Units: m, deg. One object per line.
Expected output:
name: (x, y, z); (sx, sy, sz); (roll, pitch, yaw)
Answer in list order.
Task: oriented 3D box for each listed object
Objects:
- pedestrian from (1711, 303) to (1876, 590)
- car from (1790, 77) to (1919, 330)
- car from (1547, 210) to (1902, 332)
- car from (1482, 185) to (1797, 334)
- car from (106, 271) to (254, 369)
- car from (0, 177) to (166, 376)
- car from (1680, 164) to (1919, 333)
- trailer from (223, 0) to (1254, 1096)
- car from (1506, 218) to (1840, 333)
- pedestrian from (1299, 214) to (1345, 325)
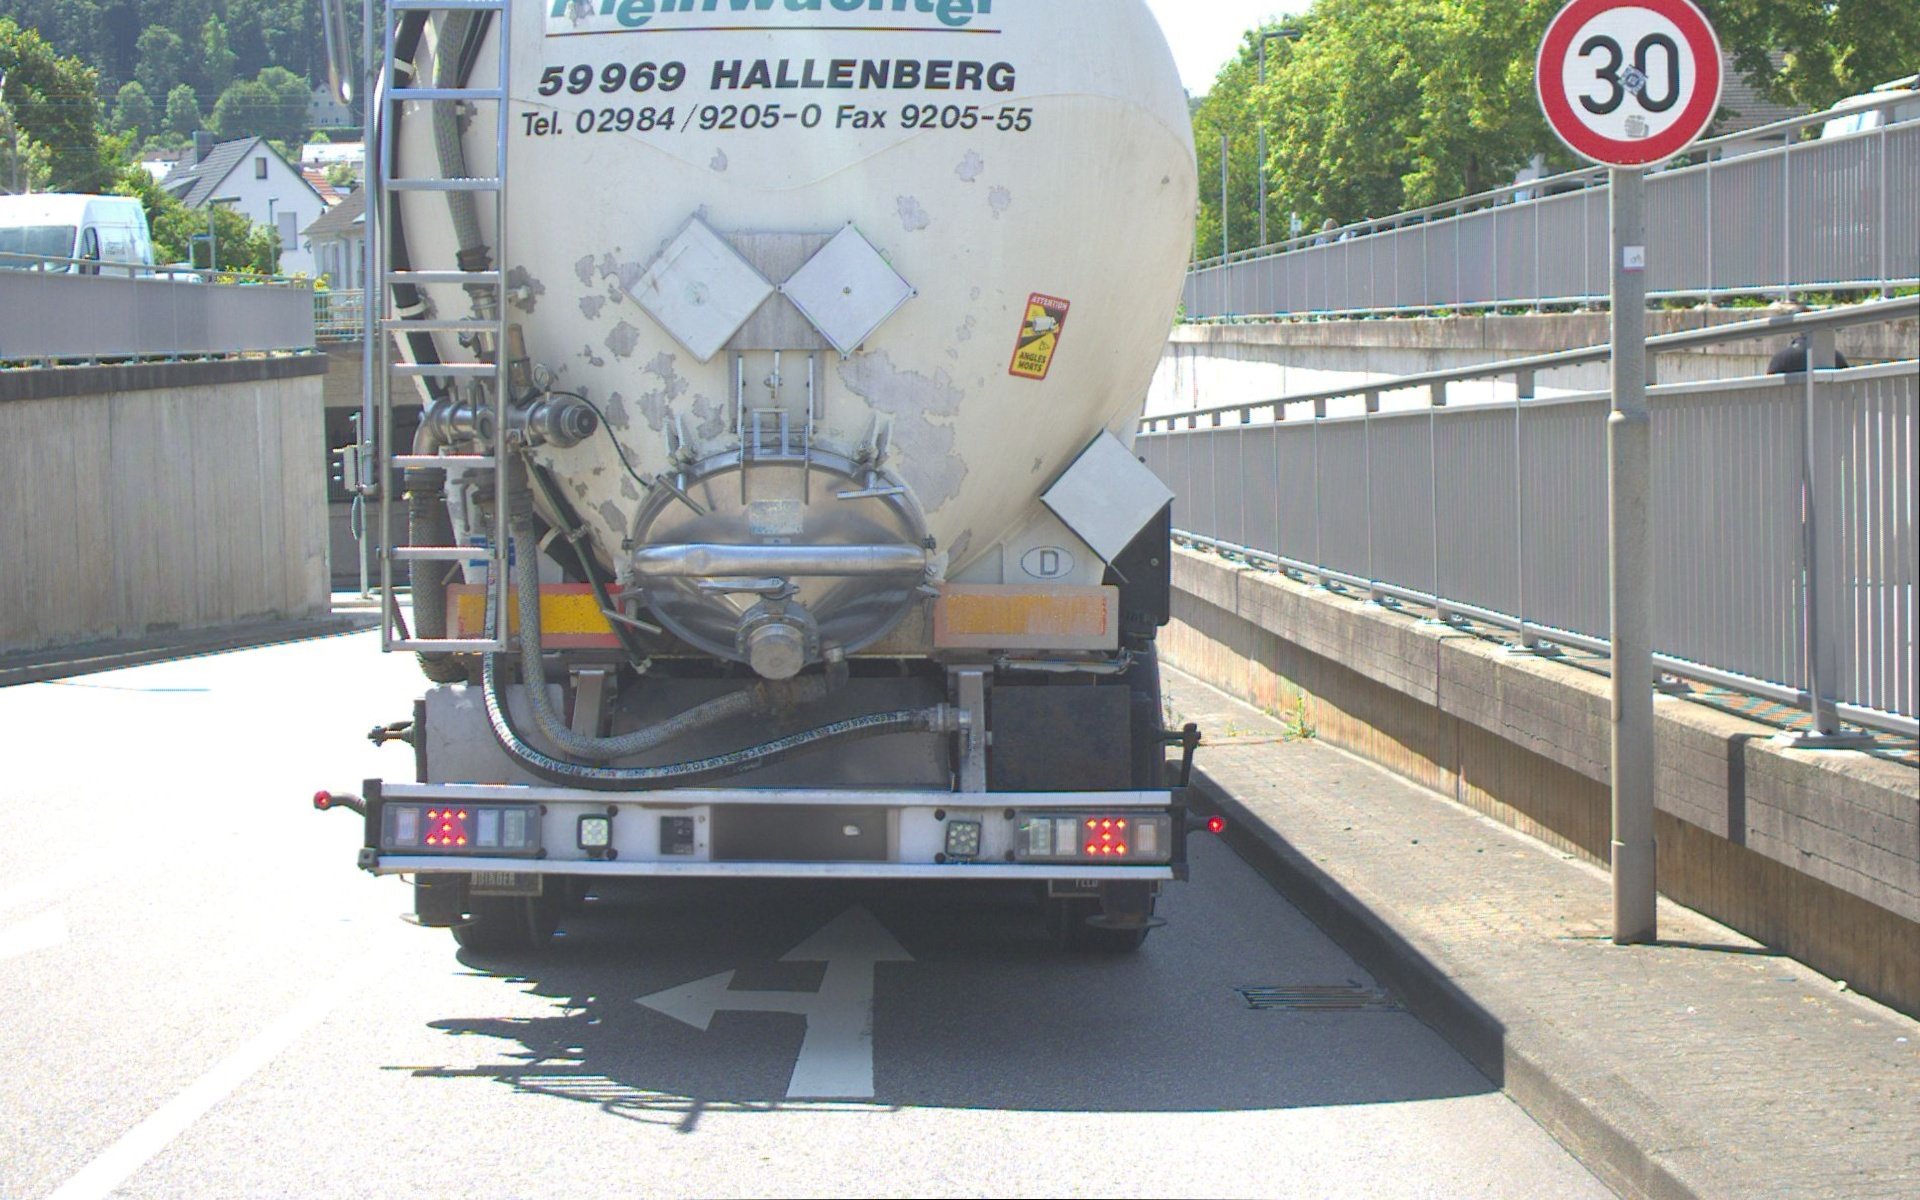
pedestrian: (5.295, -0.973, 21.885); (0.836, 1.775, 0.788); (-1, 2, -1)
car: (9.893, -3.390, 29.403); (5.112, 2.056, 1.989); (-1, 4, 0)
car: (9.170, -3.946, 41.424); (3.905, 1.362, 1.686); (-1, 4, 0)
car: (9.112, -4.565, 46.285); (3.905, 1.878, 1.686); (-1, 4, 0)
car: (-12.631, -4.534, 55.855); (1.618, 1.495, 4.046); (1, 4, -2)
car: (-12.450, -4.360, 46.868); (2.065, 2.527, 5.663); (1, 4, -1)
car: (9.427, -3.484, 34.144); (4.204, 1.590, 1.686); (-1, 4, 0)
trailer: (-0.611, -0.832, 15.841); (2.735, 4.050, 13.313); (0, 1, 0)
car: (9.059, -4.128, 43.861); (3.905, 1.362, 1.686); (-1, 4, 0)
pedestrian: (5.918, -5.397, 56.204); (0.673, 1.773, 0.594); (-1, 4, 1)
